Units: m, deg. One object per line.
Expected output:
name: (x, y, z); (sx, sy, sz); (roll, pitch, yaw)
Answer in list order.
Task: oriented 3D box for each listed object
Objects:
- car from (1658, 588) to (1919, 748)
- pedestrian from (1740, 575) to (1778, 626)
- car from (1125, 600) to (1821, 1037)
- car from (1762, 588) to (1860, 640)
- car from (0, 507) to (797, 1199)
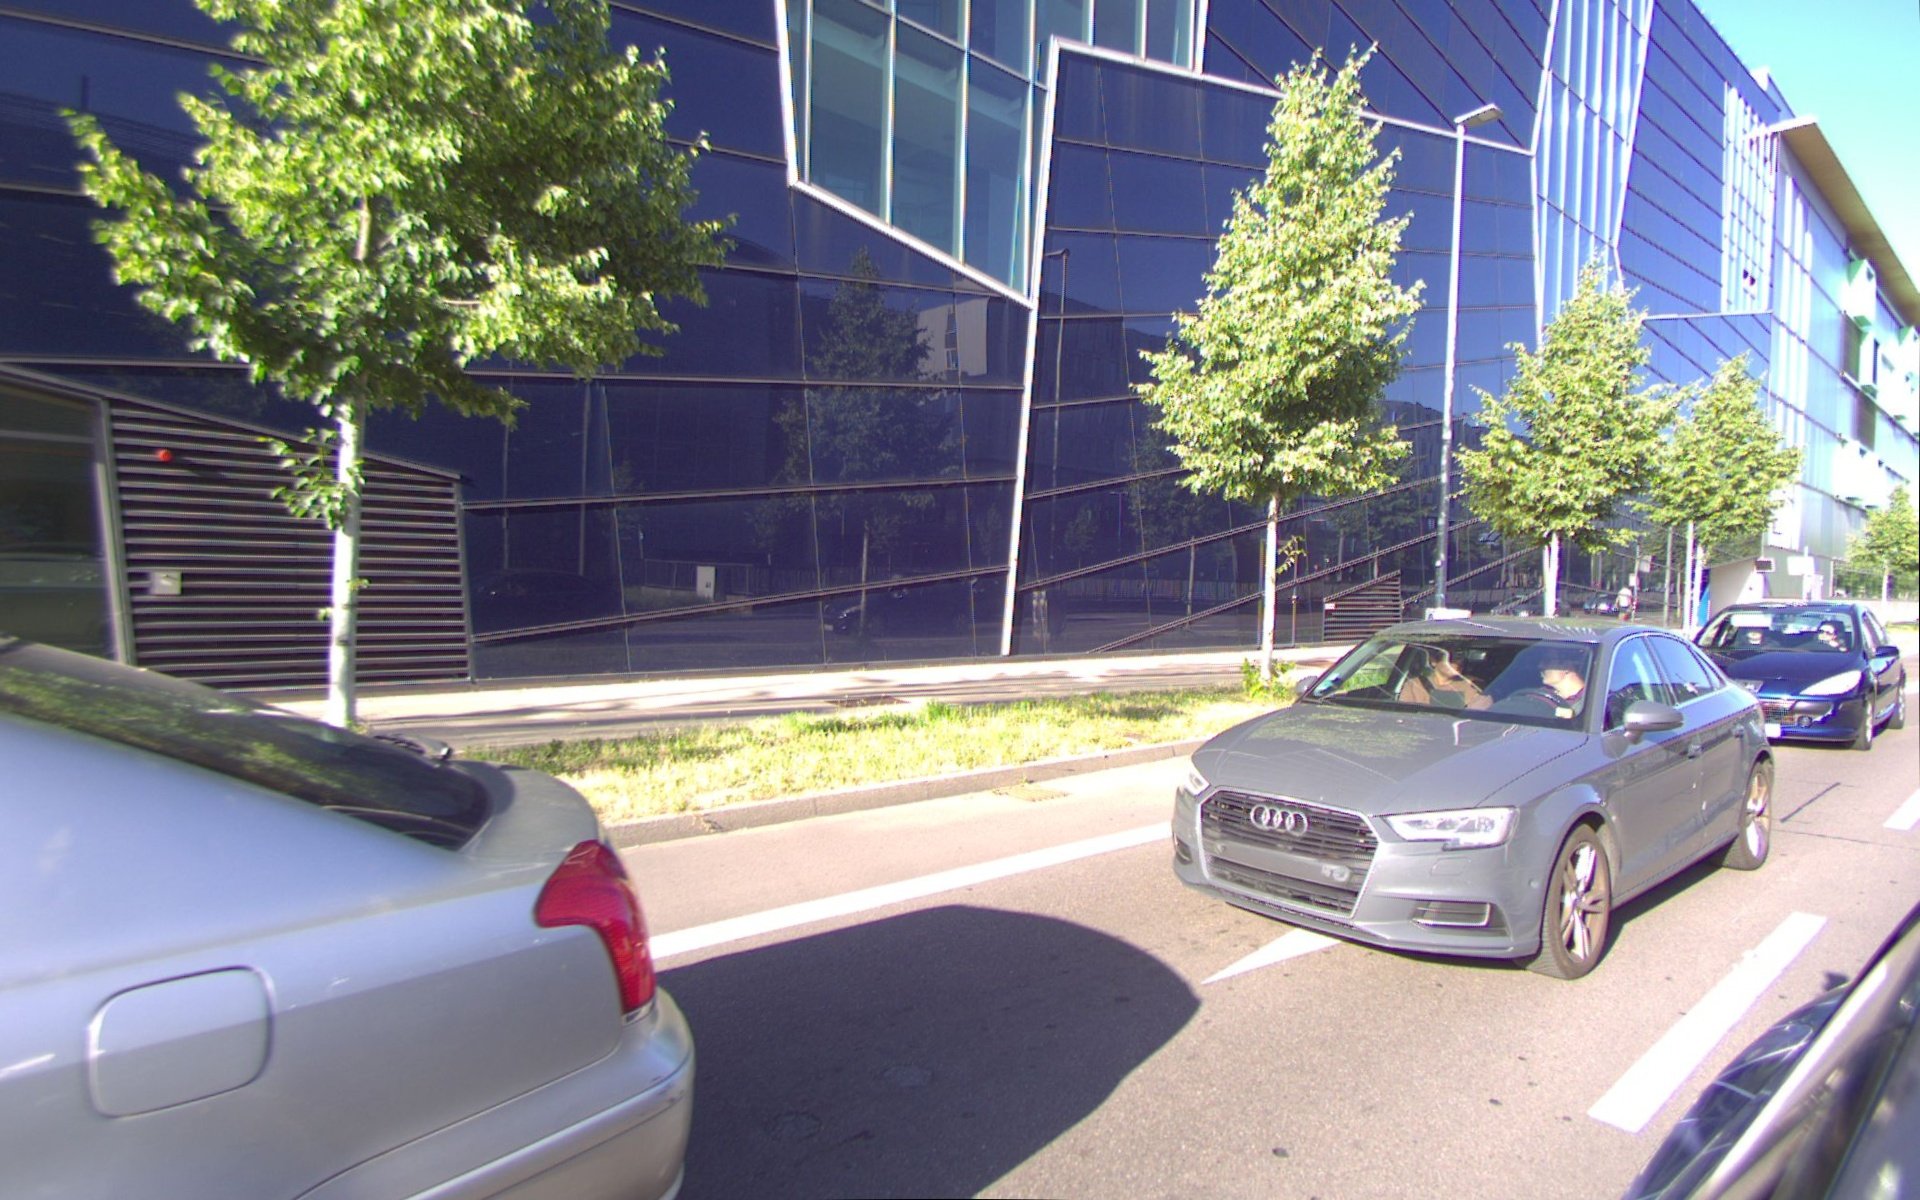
car: (9.542, 0.633, 11.487); (3.902, 1.497, 1.752); (0, 1, -41)
pedestrian: (29.969, 0.016, 37.951); (0.889, 1.846, 0.829); (0, 5, -41)
car: (2.949, 0.734, 5.399); (4.187, 1.409, 1.750); (0, 1, -39)
car: (28.429, 0.430, 33.763); (4.633, 1.516, 1.739); (0, 4, -41)
car: (-2.591, 0.624, 1.030); (4.546, 1.500, 1.749); (-1, 2, -40)
